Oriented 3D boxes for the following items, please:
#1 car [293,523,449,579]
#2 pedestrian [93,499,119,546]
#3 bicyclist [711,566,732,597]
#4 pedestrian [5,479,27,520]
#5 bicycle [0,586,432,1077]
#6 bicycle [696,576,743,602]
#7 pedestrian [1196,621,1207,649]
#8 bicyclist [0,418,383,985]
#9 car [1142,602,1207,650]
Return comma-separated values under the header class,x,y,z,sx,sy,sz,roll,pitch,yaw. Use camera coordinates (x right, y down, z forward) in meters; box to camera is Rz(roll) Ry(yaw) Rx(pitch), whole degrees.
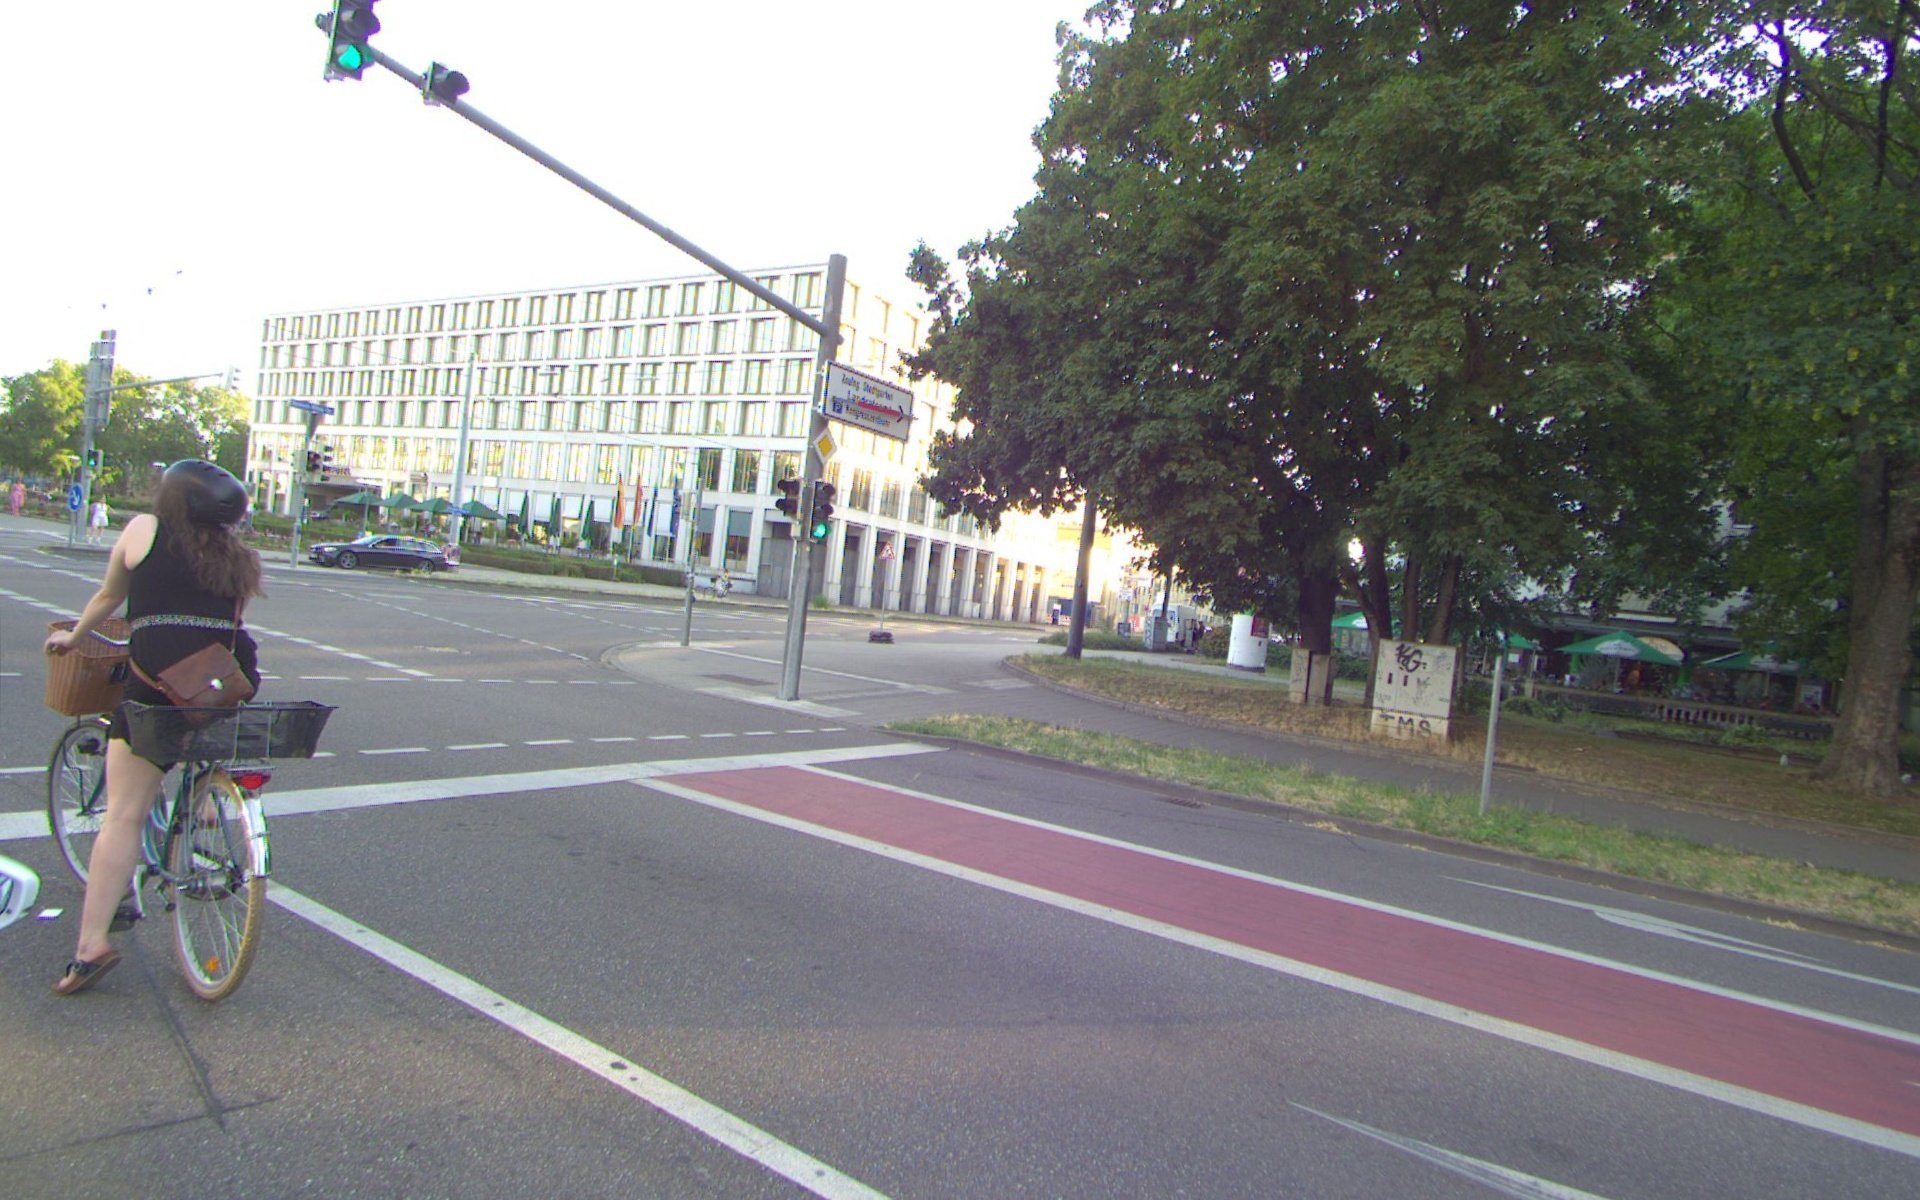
class,x,y,z,sx,sy,sz,roll,pitch,yaw
car,-22.999,-1.875,39.459,1.968,1.534,4.826,7,0,34
pedestrian,-29.823,-2.693,35.133,0.402,1.559,0.491,7,2,31
bicyclist,-12.601,-0.982,53.165,0.567,1.556,0.708,7,1,29
pedestrian,-40.127,-4.263,42.772,0.557,1.678,0.460,7,2,32
bicycle,-2.746,0.635,3.471,1.971,1.146,0.612,7,-1,32
bicycle,-12.669,-0.570,53.133,0.592,1.120,2.775,7,0,29
pedestrian,13.398,1.938,55.767,0.302,1.525,0.336,7,-1,31
bicyclist,-2.641,0.276,3.439,0.982,1.655,0.600,7,0,32
car,11.901,1.462,55.621,1.967,2.318,4.605,6,0,31
